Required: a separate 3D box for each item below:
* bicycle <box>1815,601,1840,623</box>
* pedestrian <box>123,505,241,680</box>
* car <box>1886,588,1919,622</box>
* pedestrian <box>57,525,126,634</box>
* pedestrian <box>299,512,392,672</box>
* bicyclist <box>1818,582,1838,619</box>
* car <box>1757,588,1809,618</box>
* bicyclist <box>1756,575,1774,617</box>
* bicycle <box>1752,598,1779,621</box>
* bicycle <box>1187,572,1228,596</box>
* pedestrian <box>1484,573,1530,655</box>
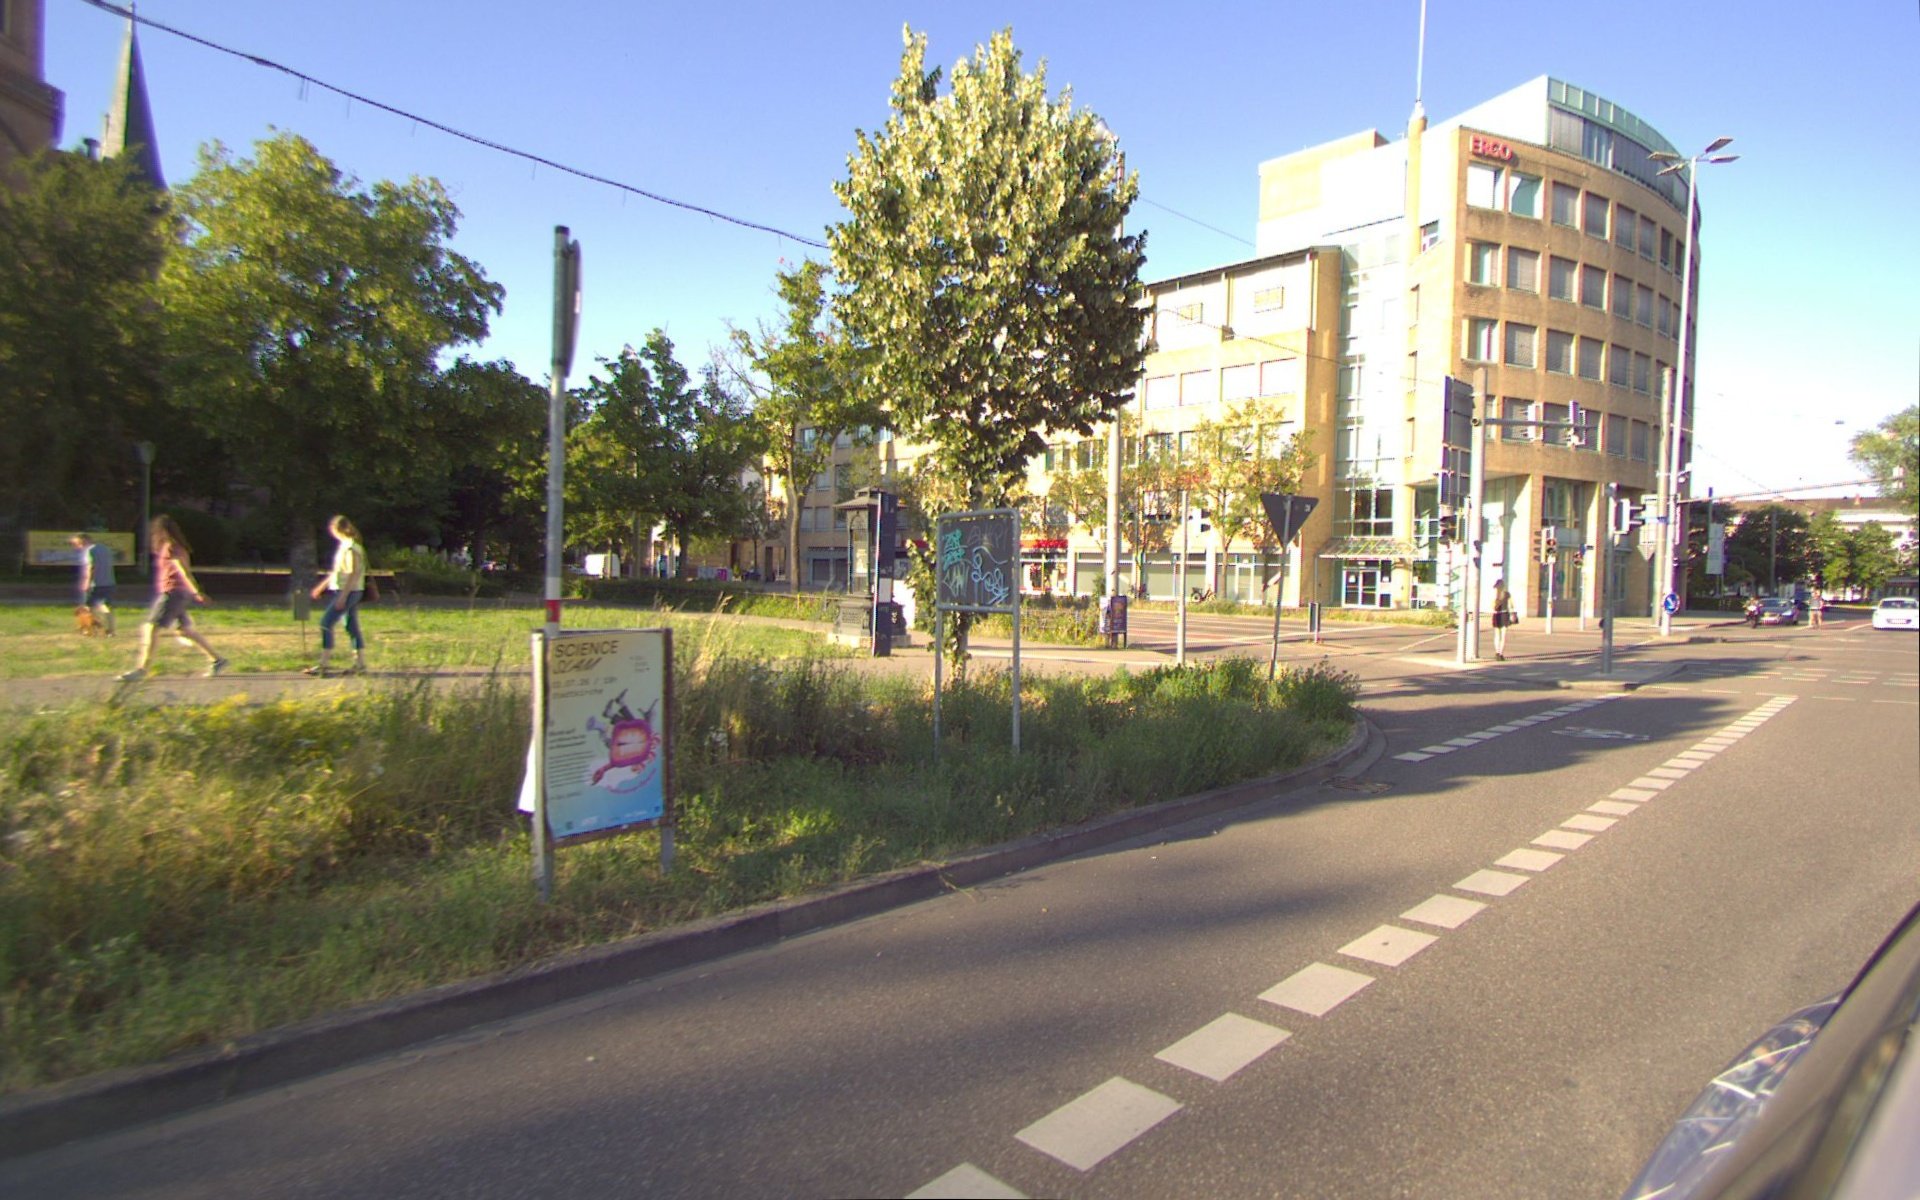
[{"bbox_3d":[39.555,0.538,46.127,1.746,0.940,0.608,0,2,-42],"label":"bicycle"},{"bbox_3d":[-7.919,-0.094,10.298,0.899,1.670,0.741,1,4,-41],"label":"pedestrian"},{"bbox_3d":[43.464,0.206,46.115,1.766,1.491,3.950,0,1,45],"label":"car"},{"bbox_3d":[-14.423,-0.347,16.815,0.630,1.761,0.597,1,1,-6],"label":"pedestrian"},{"bbox_3d":[-6.863,-0.095,11.302,0.768,1.709,0.599,1,3,-41],"label":"pedestrian"},{"bbox_3d":[39.540,0.023,46.107,0.818,1.630,0.551,1,1,-42],"label":"bicyclist"},{"bbox_3d":[42.788,0.137,52.592,1.766,1.491,3.950,0,1,45],"label":"car"},{"bbox_3d":[37.857,-0.196,47.580,0.685,1.963,0.577,1,0,-42],"label":"bicyclist"},{"bbox_3d":[37.919,0.420,47.629,1.945,1.064,0.699,0,0,-42],"label":"bicycle"},{"bbox_3d":[13.702,-0.883,56.084,2.047,1.253,0.865,-1,0,-2],"label":"bicycle"},{"bbox_3d":[11.936,0.285,22.070,0.702,1.746,0.650,0,1,-42],"label":"pedestrian"}]
